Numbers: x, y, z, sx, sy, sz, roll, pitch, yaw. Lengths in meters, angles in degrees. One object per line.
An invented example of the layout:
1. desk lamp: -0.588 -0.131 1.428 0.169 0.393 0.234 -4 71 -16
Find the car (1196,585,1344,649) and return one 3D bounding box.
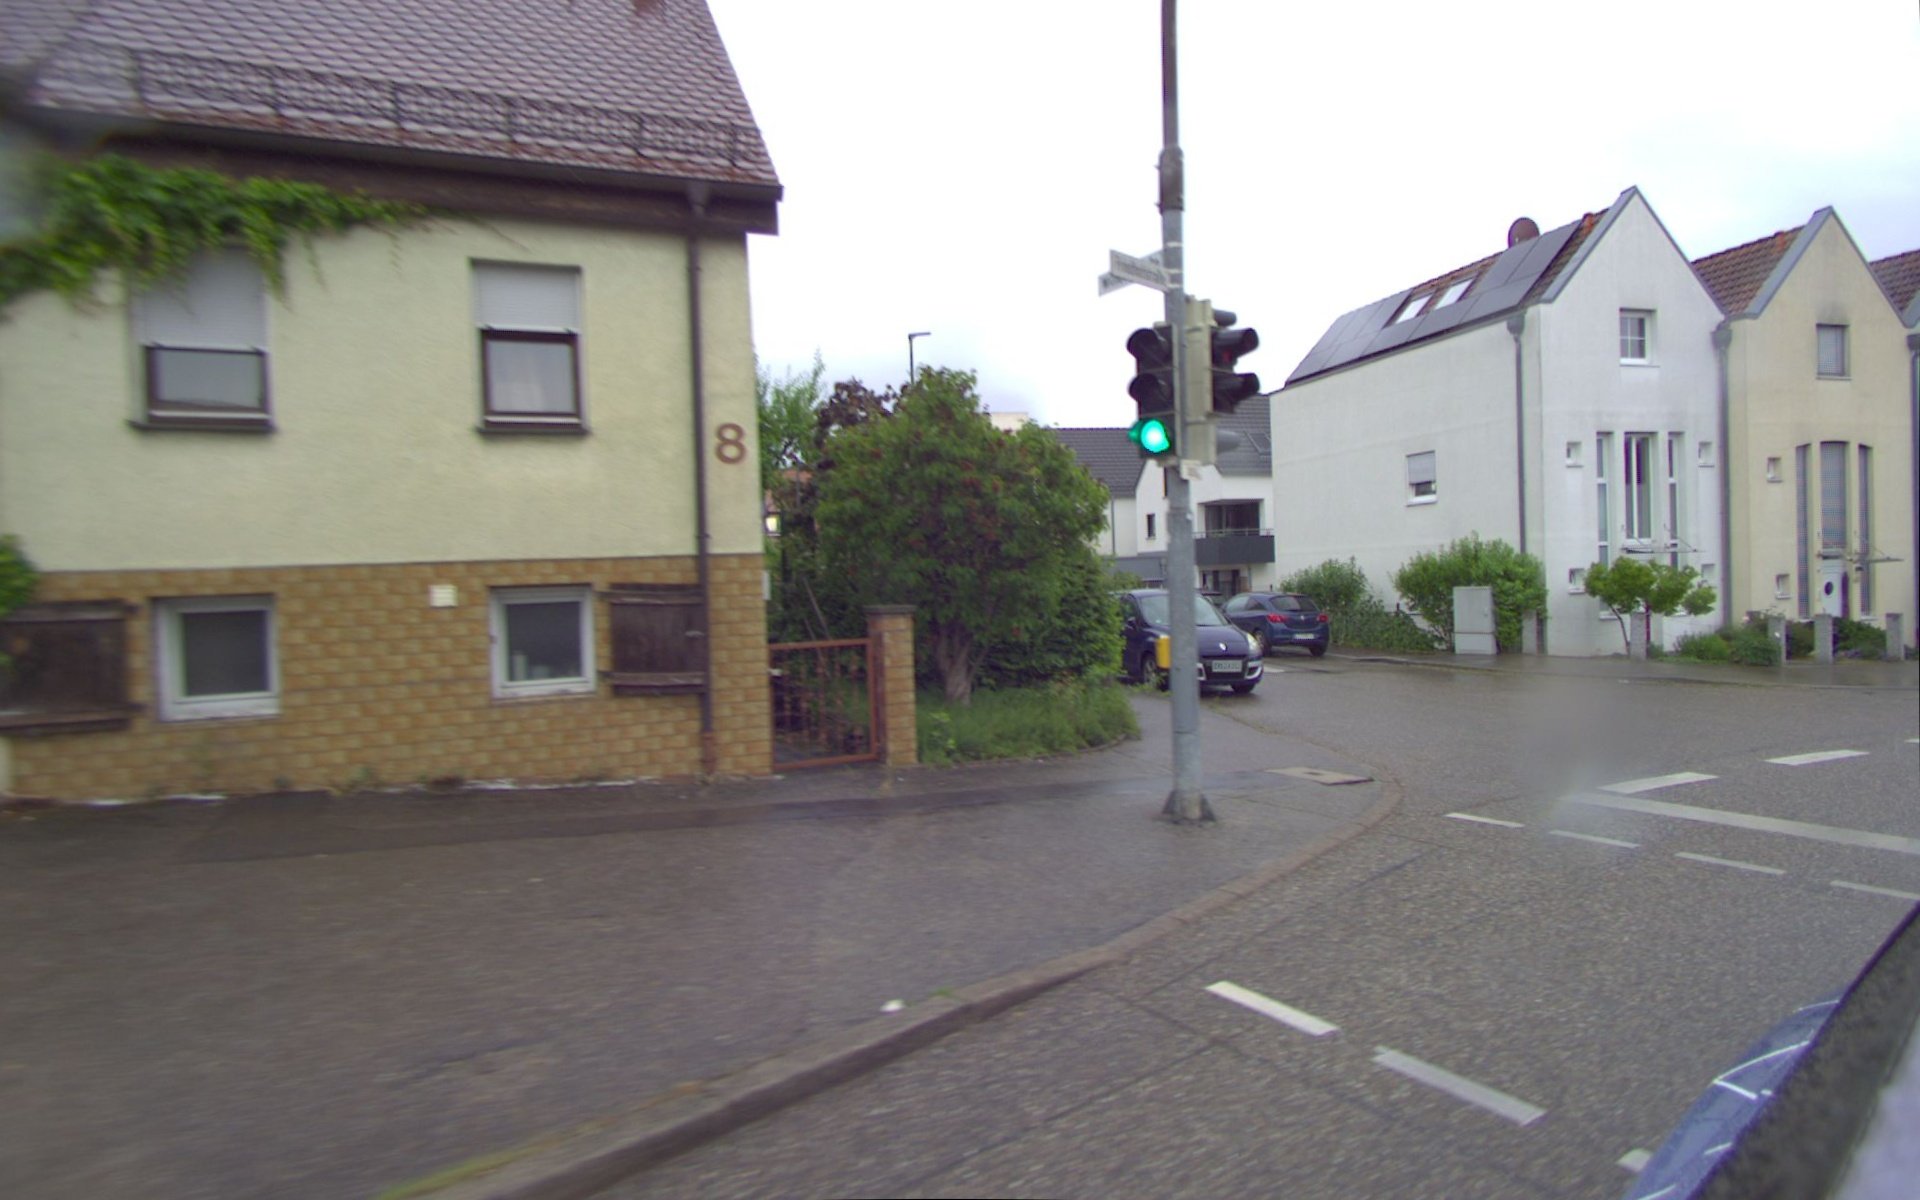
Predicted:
1. car: 7.417 0.366 24.609 1.766 1.424 3.742 -1 1 -13

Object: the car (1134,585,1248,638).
1. car: 6.597 0.305 29.328 1.755 1.418 3.722 -1 1 -13

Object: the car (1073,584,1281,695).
1. car: 3.495 0.544 17.151 1.825 1.605 4.154 -1 1 -13
